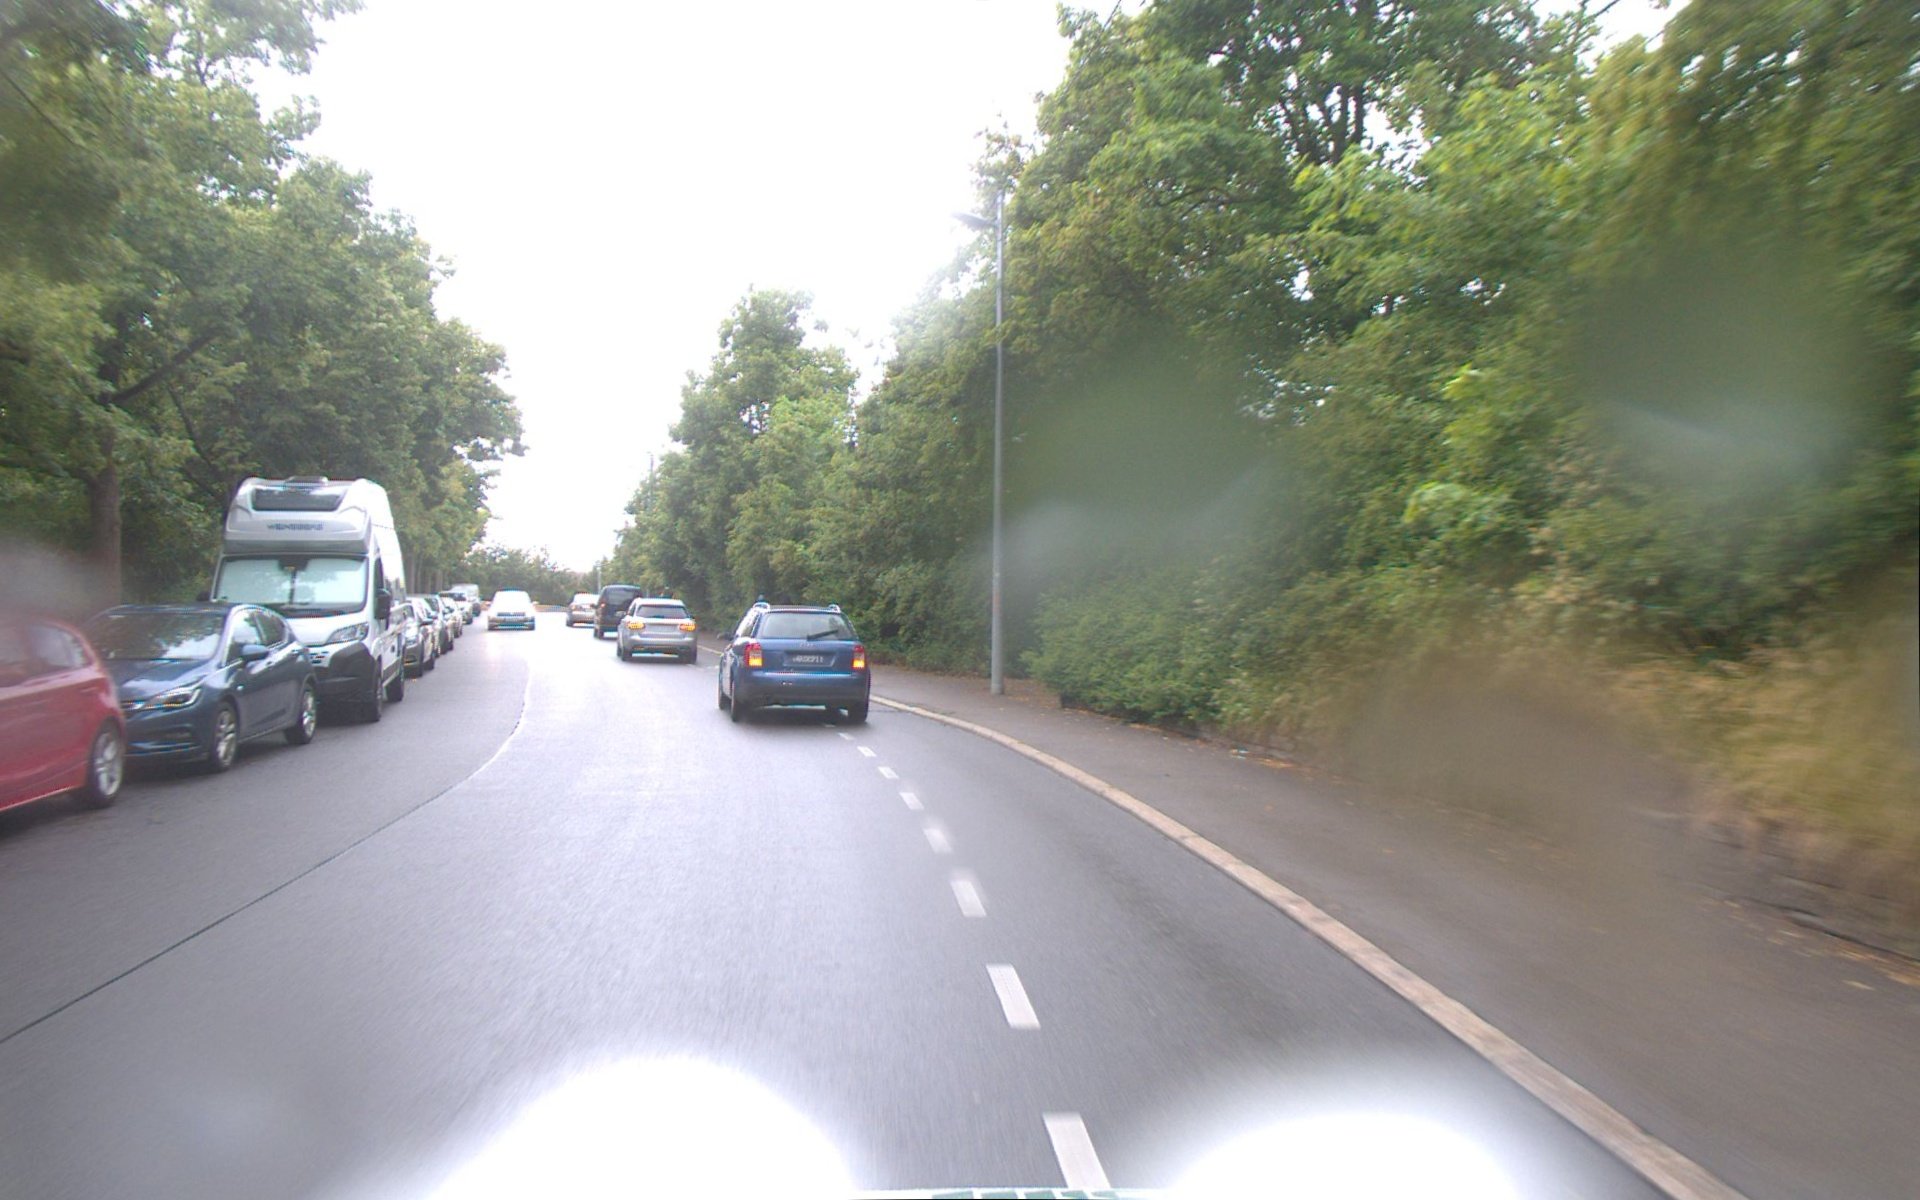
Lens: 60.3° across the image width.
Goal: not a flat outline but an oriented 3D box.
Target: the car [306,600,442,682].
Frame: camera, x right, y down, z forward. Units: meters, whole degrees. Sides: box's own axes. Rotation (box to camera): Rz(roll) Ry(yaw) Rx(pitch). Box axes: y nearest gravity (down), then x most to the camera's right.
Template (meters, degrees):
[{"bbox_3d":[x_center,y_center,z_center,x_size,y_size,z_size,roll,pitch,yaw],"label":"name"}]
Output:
[{"bbox_3d":[-11.350,0.732,32.357,1.960,1.332,5.336,-1,1,-14],"label":"car"}]

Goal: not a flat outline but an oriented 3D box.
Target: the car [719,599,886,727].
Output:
[{"bbox_3d":[-2.148,0.753,21.613,1.716,1.432,3.989,1,0,-12],"label":"car"}]

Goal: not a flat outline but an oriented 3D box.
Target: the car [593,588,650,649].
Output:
[{"bbox_3d":[-11.985,0.677,58.423,1.759,1.987,3.985,-3,-1,-14],"label":"car"}]

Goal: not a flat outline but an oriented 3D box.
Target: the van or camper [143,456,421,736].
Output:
[{"bbox_3d":[-8.747,-0.053,22.043,2.464,3.079,6.535,-3,0,-15],"label":"van or camper"}]

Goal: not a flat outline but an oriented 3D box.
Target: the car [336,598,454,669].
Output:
[{"bbox_3d":[-12.930,0.715,38.115,1.958,1.429,4.700,-1,1,-12],"label":"car"}]

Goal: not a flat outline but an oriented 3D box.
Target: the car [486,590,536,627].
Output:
[{"bbox_3d":[-17.842,0.326,65.756,1.852,1.427,4.238,0,0,-15],"label":"car"}]

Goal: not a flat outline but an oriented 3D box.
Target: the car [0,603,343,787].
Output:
[{"bbox_3d":[-7.515,0.800,15.921,1.917,1.433,4.202,-2,1,-6],"label":"car"}]

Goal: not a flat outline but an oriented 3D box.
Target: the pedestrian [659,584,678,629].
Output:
[{"bbox_3d":[-12.292,0.255,69.803,0.704,1.867,1.018,-1,0,-14],"label":"pedestrian"}]

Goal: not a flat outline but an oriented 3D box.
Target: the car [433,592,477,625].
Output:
[{"bbox_3d":[-23.099,0.406,75.745,1.660,1.463,4.241,1,-1,-13],"label":"car"}]

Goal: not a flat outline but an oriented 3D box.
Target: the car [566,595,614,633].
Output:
[{"bbox_3d":[-16.400,0.603,73.227,1.793,1.645,3.767,0,0,-17],"label":"car"}]

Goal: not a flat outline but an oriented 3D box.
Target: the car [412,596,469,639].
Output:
[{"bbox_3d":[-18.002,0.605,57.440,1.726,1.427,4.400,0,0,-15],"label":"car"}]

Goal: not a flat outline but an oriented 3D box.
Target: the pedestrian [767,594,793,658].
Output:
[{"bbox_3d":[-4.488,0.642,41.287,0.585,1.594,0.667,1,0,-11],"label":"pedestrian"}]

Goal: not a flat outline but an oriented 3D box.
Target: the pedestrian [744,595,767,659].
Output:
[{"bbox_3d":[-5.119,0.665,41.370,0.542,1.594,0.485,0,0,-11],"label":"pedestrian"}]

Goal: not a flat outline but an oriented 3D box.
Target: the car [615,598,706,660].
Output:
[{"bbox_3d":[-7.316,0.667,40.151,1.859,1.413,3.984,1,0,-15],"label":"car"}]

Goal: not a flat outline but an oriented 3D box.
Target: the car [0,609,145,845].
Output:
[{"bbox_3d":[-6.959,0.832,10.646,1.917,1.433,3.539,-2,1,-6],"label":"car"}]

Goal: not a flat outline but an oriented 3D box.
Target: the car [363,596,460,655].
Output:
[{"bbox_3d":[-14.224,0.641,43.123,1.959,1.430,4.698,-1,0,-13],"label":"car"}]
